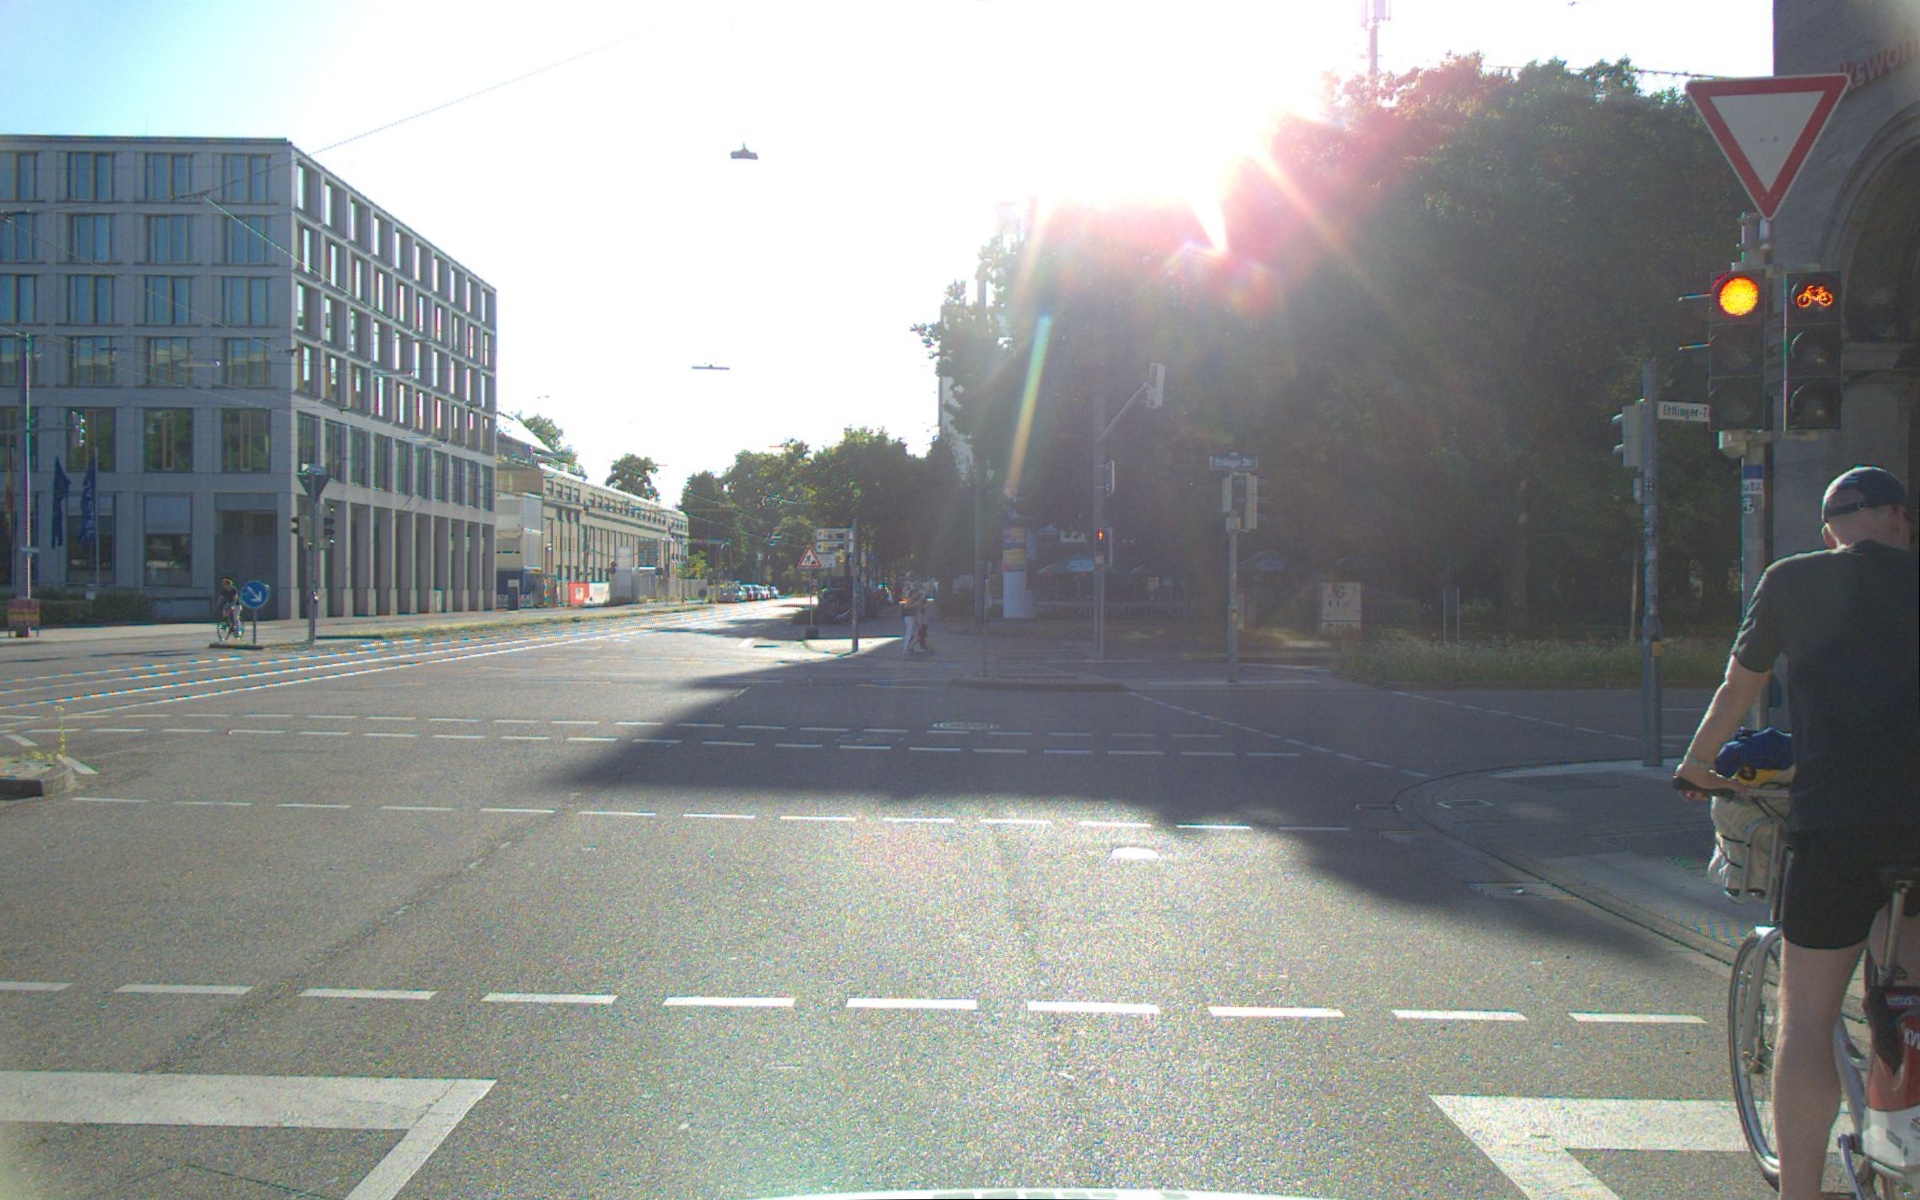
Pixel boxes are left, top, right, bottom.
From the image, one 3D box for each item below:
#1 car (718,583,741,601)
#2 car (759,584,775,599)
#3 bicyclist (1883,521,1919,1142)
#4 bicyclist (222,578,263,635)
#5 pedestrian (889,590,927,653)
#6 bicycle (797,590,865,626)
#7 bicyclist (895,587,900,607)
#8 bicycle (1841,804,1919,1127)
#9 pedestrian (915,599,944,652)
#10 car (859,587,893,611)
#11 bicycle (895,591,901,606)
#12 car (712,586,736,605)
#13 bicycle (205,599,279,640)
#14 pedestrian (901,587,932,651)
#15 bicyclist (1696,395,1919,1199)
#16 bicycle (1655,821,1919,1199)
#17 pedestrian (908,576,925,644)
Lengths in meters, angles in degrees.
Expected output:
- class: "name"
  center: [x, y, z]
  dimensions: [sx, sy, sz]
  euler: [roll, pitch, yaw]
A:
- class: "car"
  center: [-22.304, -0.798, 159.856]
  dimensions: [1.695, 1.682, 3.999]
  euler: [0, 0, -1]
- class: "car"
  center: [-22.654, -0.977, 193.923]
  dimensions: [1.453, 1.780, 3.999]
  euler: [0, 0, -1]
- class: "bicyclist"
  center: [2.886, 0.638, 4.294]
  dimensions: [0.511, 1.709, 0.859]
  euler: [0, 0, 2]
- class: "bicyclist"
  center: [-21.204, 0.198, 48.900]
  dimensions: [0.857, 1.670, 0.822]
  euler: [0, 0, 0]
- class: "pedestrian"
  center: [-1.350, 0.560, 43.301]
  dimensions: [0.964, 1.615, 0.660]
  euler: [0, -1, 1]
- class: "bicycle"
  center: [-5.230, 0.330, 67.057]
  dimensions: [2.688, 1.391, 0.631]
  euler: [1, -1, 10]
- class: "bicyclist"
  center: [-3.702, -0.169, 98.344]
  dimensions: [0.312, 1.147, 0.291]
  euler: [0, 0, -1]
- class: "bicycle"
  center: [3.005, 1.103, 4.325]
  dimensions: [0.418, 0.891, 1.951]
  euler: [0, 0, 2]
- class: "pedestrian"
  center: [-0.792, 0.665, 42.917]
  dimensions: [0.737, 1.356, 0.742]
  euler: [0, 0, 0]
- class: "car"
  center: [-4.549, -0.055, 89.894]
  dimensions: [1.783, 1.301, 3.998]
  euler: [0, 0, -3]
- class: "bicycle"
  center: [-3.676, -0.072, 98.432]
  dimensions: [0.317, 0.883, 1.483]
  euler: [0, 0, -1]
- class: "car"
  center: [-22.190, -0.429, 155.768]
  dimensions: [1.695, 1.682, 3.999]
  euler: [0, 0, -1]
- class: "bicycle"
  center: [-21.222, 0.557, 48.964]
  dimensions: [0.857, 1.140, 3.013]
  euler: [0, 0, 0]
- class: "pedestrian"
  center: [-1.142, 0.505, 43.610]
  dimensions: [0.779, 1.668, 0.533]
  euler: [0, 0, 2]
- class: "bicyclist"
  center: [2.125, 0.423, 3.764]
  dimensions: [0.655, 1.707, 0.657]
  euler: [0, 0, 7]
- class: "bicycle"
  center: [2.128, 1.122, 3.927]
  dimensions: [0.381, 0.921, 1.952]
  euler: [0, 0, 8]
- class: "pedestrian"
  center: [-1.171, 0.273, 44.650]
  dimensions: [0.353, 1.836, 0.507]
  euler: [0, 0, 11]
